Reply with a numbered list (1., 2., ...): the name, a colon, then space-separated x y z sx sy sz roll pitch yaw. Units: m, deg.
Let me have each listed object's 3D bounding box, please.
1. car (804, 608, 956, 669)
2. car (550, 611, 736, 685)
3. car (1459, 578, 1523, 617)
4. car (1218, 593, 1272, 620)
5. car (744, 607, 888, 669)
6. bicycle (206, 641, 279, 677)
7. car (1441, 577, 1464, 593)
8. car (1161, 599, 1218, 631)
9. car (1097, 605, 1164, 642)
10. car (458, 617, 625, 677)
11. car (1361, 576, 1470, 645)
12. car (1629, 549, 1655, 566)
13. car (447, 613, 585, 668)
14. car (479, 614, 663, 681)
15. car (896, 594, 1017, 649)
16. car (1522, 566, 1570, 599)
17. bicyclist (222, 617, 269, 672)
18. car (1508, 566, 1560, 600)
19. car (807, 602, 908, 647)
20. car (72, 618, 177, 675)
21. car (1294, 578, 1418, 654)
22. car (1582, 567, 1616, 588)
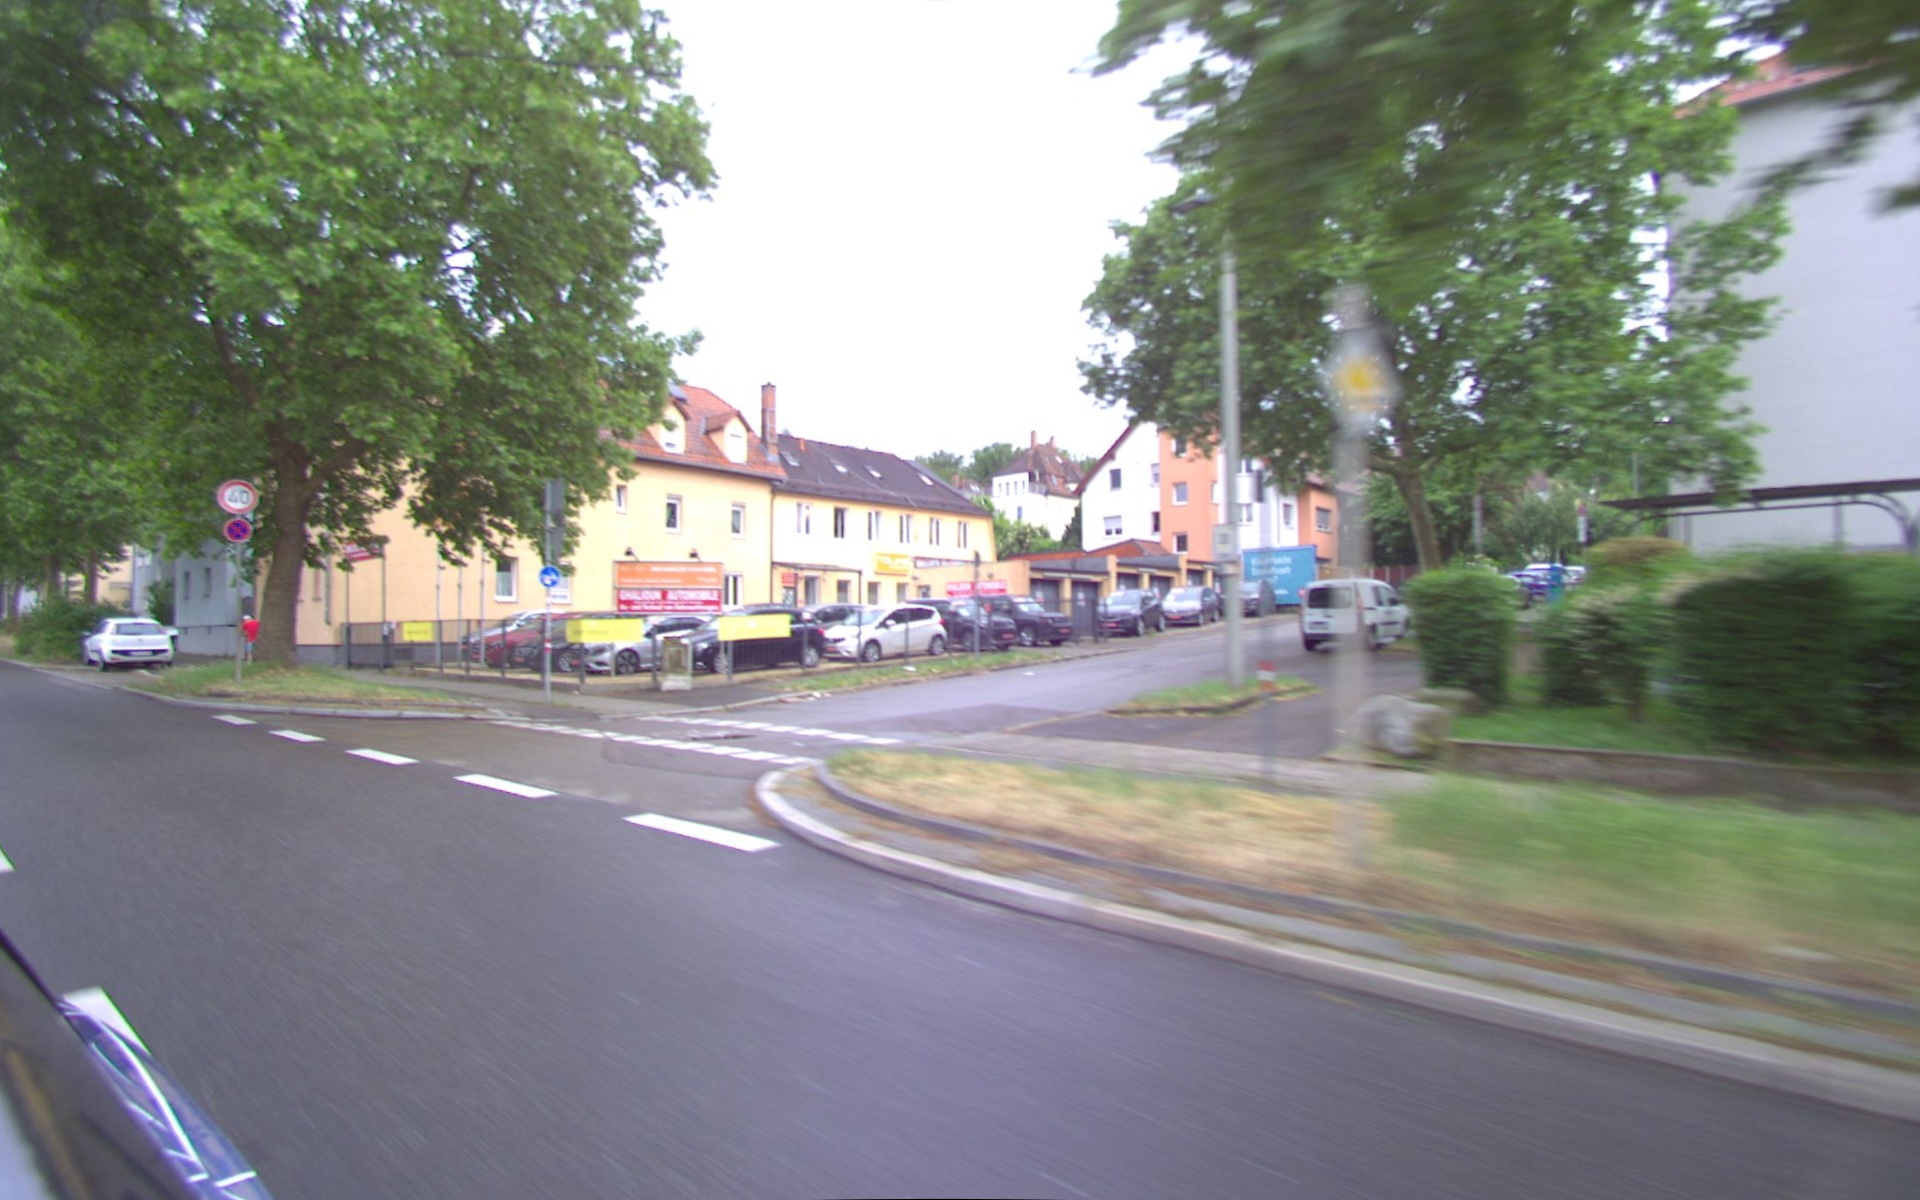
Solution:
1. car: -2.199 1.018 28.576 1.998 1.508 4.125 0 0 40
2. car: -8.051 1.154 25.999 1.981 1.550 4.165 0 2 39
3. car: 20.740 -0.128 39.486 1.569 1.416 2.934 0 2 41
4. car: 12.752 0.276 45.268 1.478 1.071 2.853 0 2 35
5. car: -4.229 1.076 30.125 1.998 1.665 3.947 0 0 40
6. bicycle: -21.326 1.739 30.073 2.247 1.003 0.553 0 1 18
7. car: 32.450 -0.990 66.605 1.051 1.071 2.093 0 1 35
8. car: 9.181 0.589 40.444 1.331 1.071 2.604 0 4 35
9. car: 6.103 0.814 36.075 1.348 1.071 2.573 0 4 35
10. car: -12.117 1.308 29.495 1.958 1.509 4.053 -1 0 43
11. car: 13.705 0.242 30.335 1.879 1.791 3.946 5 5 40
12. car: 49.461 -3.084 73.402 1.240 1.199 2.473 0 2 41
13. car: -15.180 1.335 34.761 1.782 1.626 3.943 -1 1 43
14. car: -10.380 1.211 27.190 2.001 1.550 4.159 -2 0 45
15. car: -0.067 0.673 34.093 1.887 1.696 3.943 0 1 43
16. car: 27.322 -0.839 47.130 1.383 1.485 3.115 0 2 41
17. bicyclist: -21.189 1.313 30.026 0.810 1.564 0.830 0 1 18
18. car: 24.550 -0.745 43.267 1.391 1.416 2.934 0 2 41
19. car: -4.218 0.964 42.112 1.886 1.696 3.944 0 1 42
20. car: -25.194 1.367 30.471 4.349 1.563 1.767 -2 -1 41
21. car: 10.562 0.364 26.828 1.879 1.792 3.946 0 2 41
22. car: 34.699 -1.223 54.931 1.240 1.131 2.473 0 2 41
